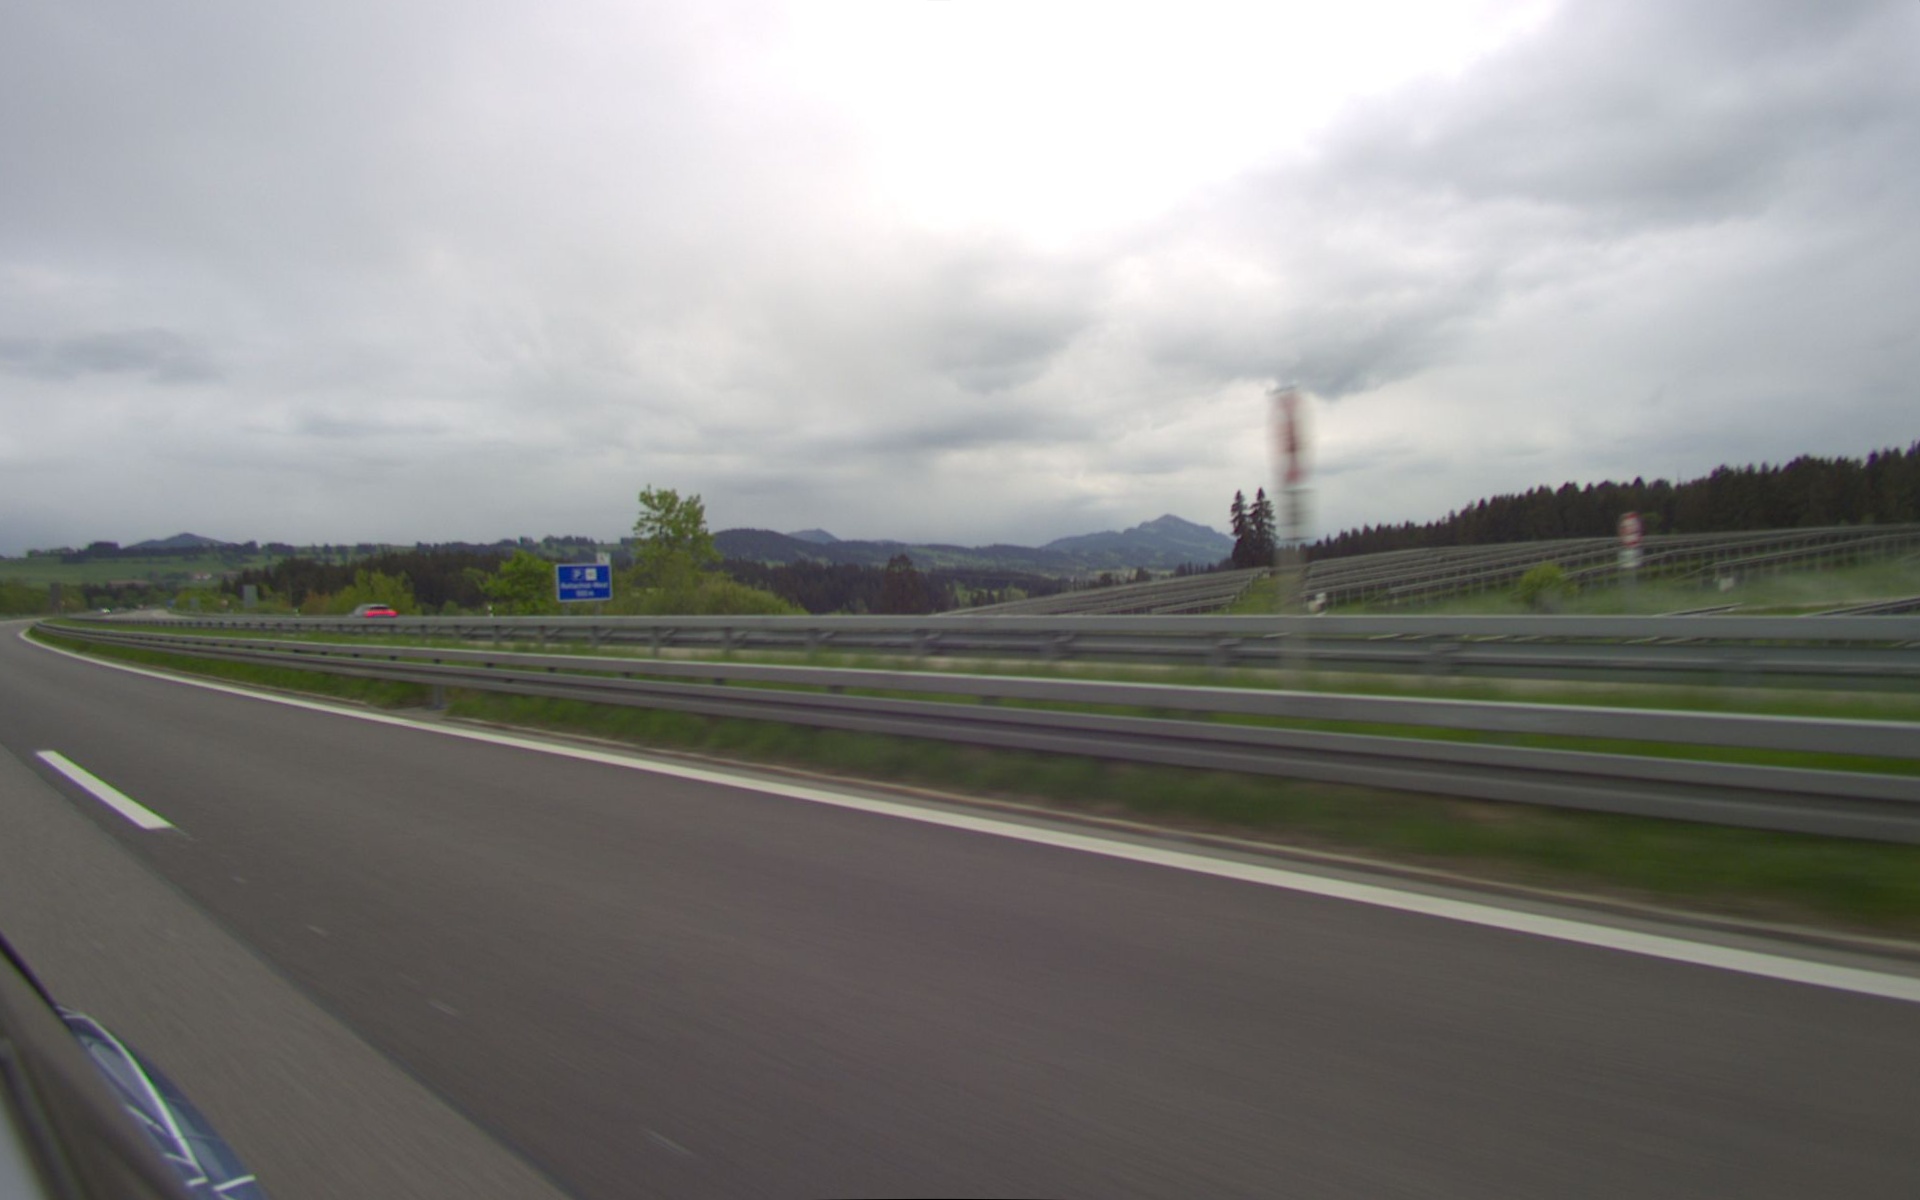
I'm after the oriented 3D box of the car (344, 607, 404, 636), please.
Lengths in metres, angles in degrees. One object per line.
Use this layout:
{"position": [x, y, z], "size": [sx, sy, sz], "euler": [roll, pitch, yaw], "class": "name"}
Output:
{"position": [-34.781, 1.276, 60.036], "size": [4.152, 1.509, 1.972], "euler": [-2, 2, 44], "class": "car"}
